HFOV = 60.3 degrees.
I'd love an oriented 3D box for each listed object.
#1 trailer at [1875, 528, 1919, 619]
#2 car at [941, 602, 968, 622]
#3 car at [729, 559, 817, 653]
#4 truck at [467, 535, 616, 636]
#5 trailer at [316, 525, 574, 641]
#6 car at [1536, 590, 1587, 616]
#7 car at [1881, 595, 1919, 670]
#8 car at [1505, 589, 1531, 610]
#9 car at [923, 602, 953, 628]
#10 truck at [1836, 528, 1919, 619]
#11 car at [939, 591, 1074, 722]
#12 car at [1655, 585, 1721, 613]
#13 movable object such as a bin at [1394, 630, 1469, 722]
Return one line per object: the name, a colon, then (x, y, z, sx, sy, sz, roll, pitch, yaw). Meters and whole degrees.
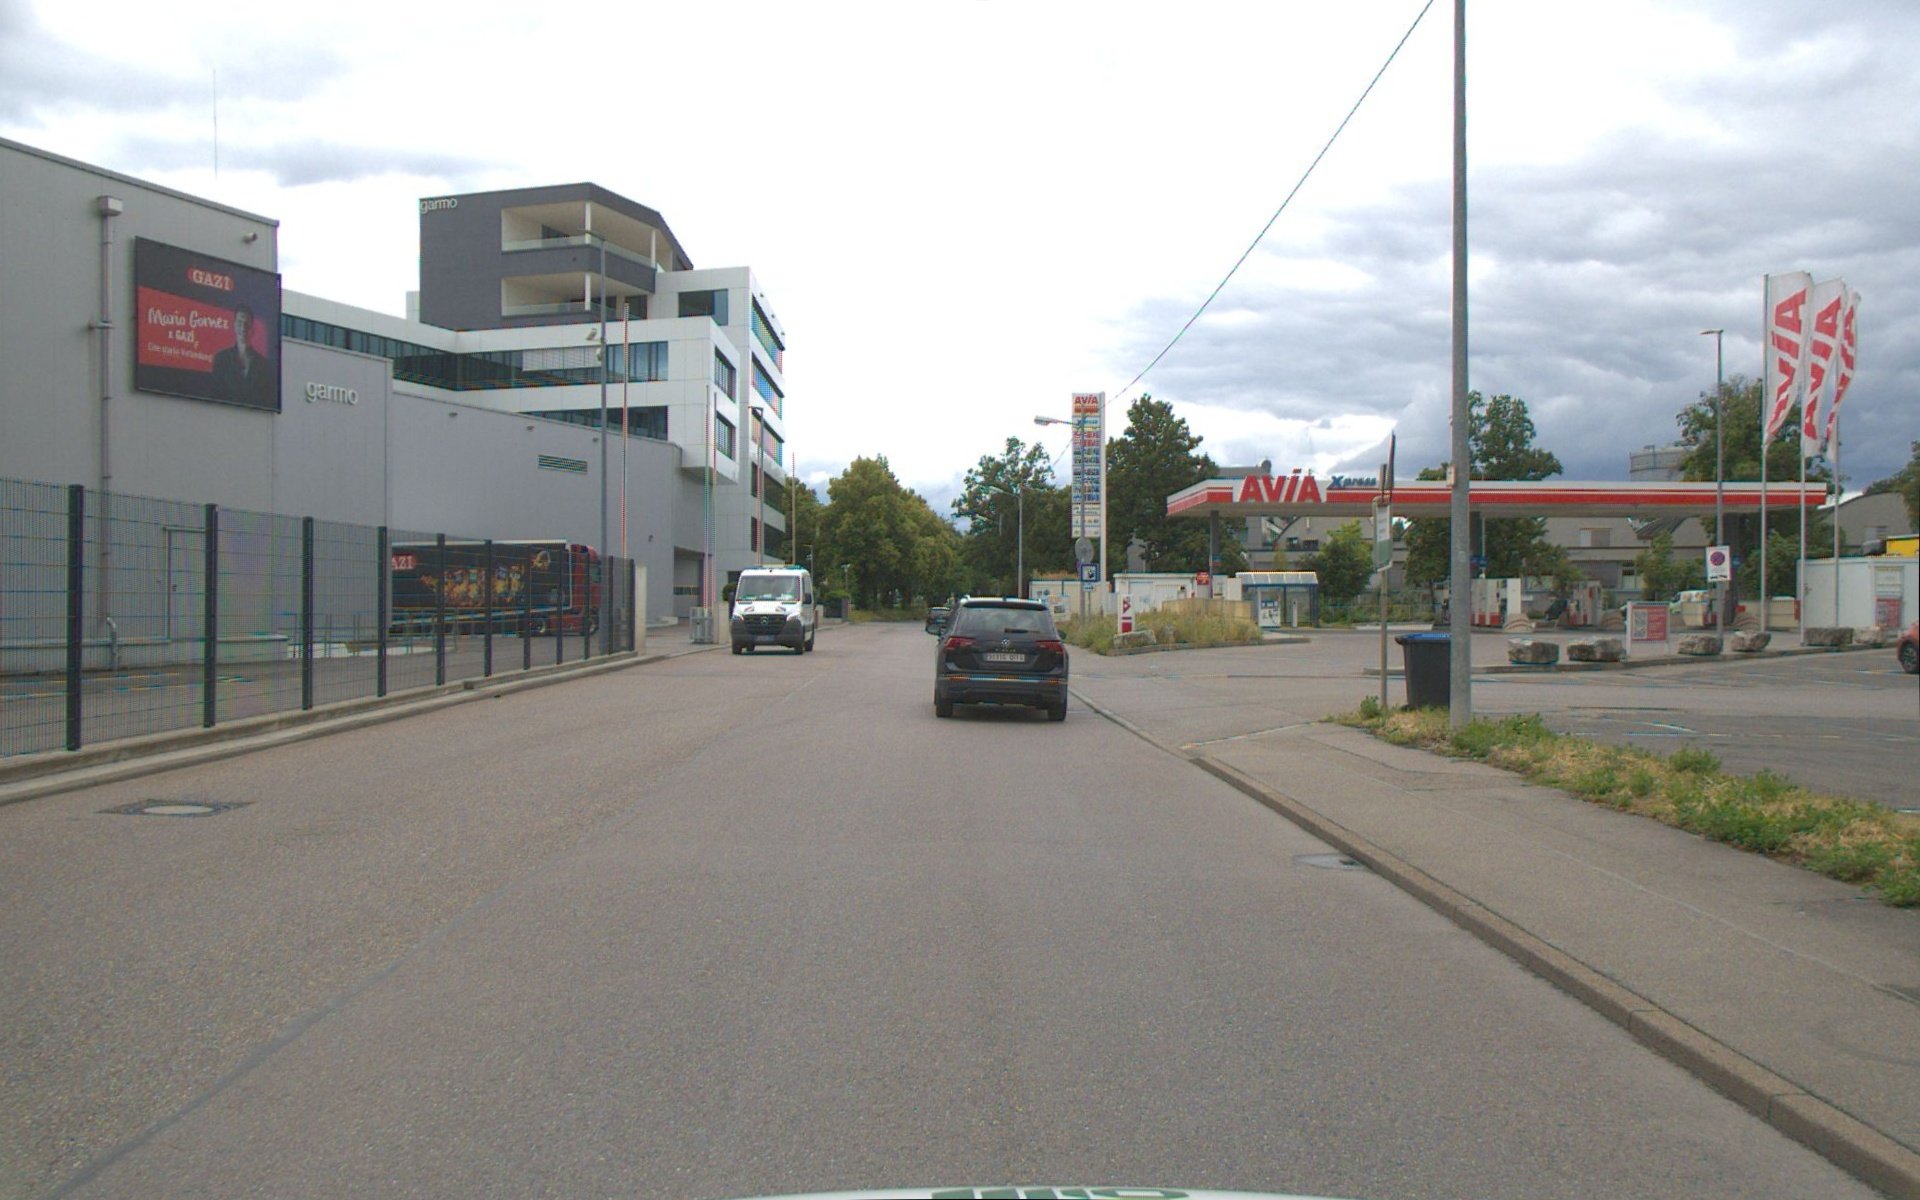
trailer: (43.222, -1.174, 67.949, 2.939, 3.983, 14.296, -1, 0, -2)
car: (-0.501, 1.128, 153.647, 1.951, 1.818, 4.003, 1, 0, 8)
car: (-5.197, 0.143, 46.601, 1.953, 2.458, 5.255, 1, 0, -1)
truck: (-17.789, -0.608, 70.748, 2.685, 4.101, 7.095, 1, 0, 19)
trailer: (-19.797, -0.620, 65.013, 2.685, 4.101, 12.621, 1, 0, 19)
car: (37.247, 0.208, 102.509, 1.697, 1.557, 3.884, -1, 0, 0)
car: (21.568, 0.686, 34.963, 1.729, 1.598, 4.214, -1, 0, -2)
car: (42.809, -0.038, 126.916, 1.864, 1.547, 4.066, -1, 0, 18)
car: (-1.391, 0.924, 103.644, 1.801, 1.645, 3.999, 0, 0, -1)
truck: (42.970, -1.153, 75.165, 2.897, 3.983, 6.038, -1, 0, -2)
car: (0.642, 0.738, 23.261, 1.703, 1.646, 3.641, 2, 0, 1)
car: (45.370, -0.033, 103.179, 1.922, 1.674, 4.652, -1, 0, -2)
movable object such as a bin: (5.848, 0.936, 20.536, 0.701, 1.100, 0.661, 0, 0, -8)
